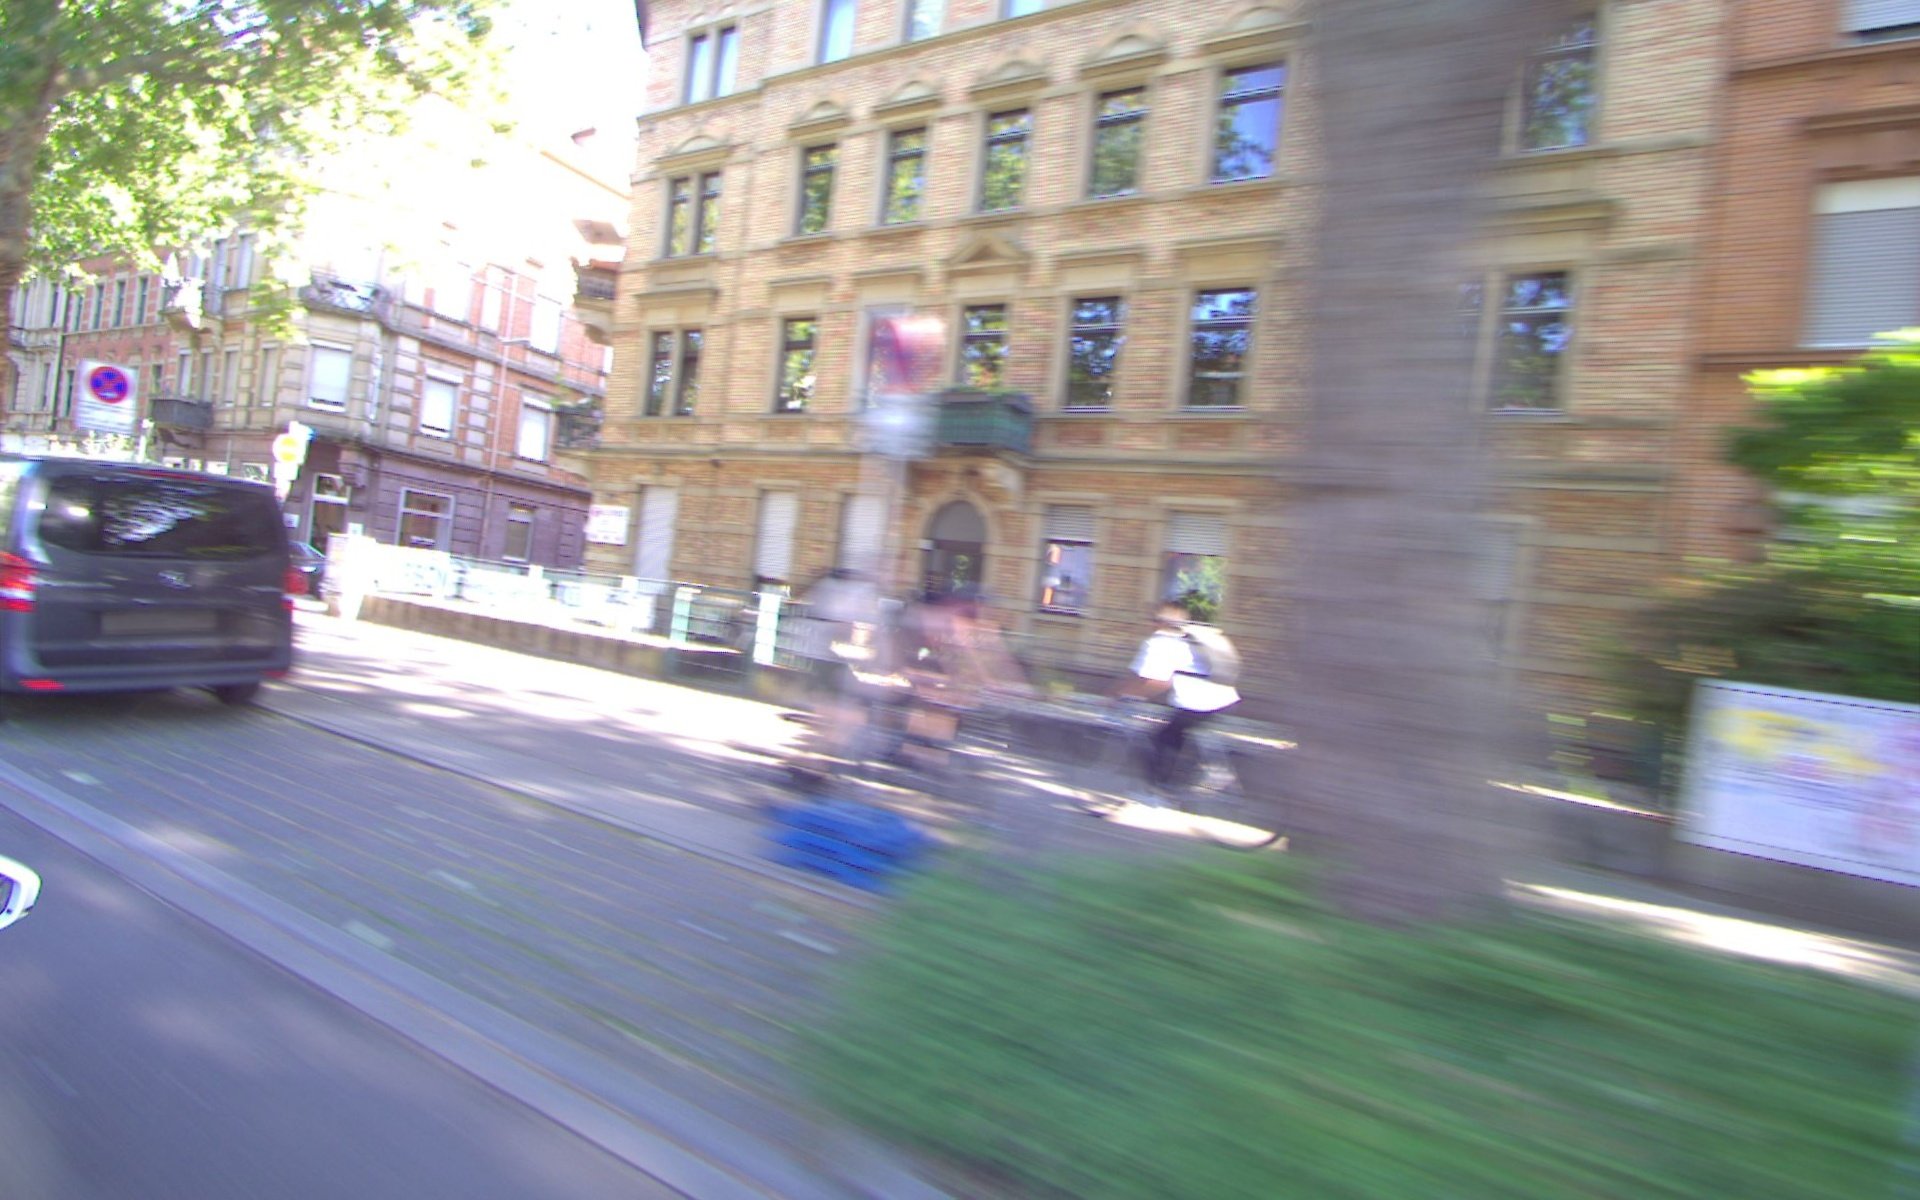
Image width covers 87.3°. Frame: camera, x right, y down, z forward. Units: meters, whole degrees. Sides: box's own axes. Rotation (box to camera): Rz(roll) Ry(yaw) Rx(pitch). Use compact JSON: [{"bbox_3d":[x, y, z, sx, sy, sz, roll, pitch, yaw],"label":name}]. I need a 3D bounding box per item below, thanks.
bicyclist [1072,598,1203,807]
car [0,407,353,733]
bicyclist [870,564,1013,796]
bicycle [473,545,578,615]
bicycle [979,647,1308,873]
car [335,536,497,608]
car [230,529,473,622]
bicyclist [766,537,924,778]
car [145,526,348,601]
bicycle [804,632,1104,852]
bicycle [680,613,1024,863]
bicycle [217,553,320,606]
[{"bbox_3d":[1.308,0.735,7.395,0.633,1.397,0.543,8,1,30],"label":"bicyclist"},{"bbox_3d":[-7.599,-0.372,8.415,5.114,2.038,1.997,7,0,31],"label":"car"},{"bbox_3d":[-0.126,0.553,7.098,0.633,1.505,0.570,7,0,31],"label":"bicyclist"},{"bbox_3d":[-8.718,-0.387,20.248,0.469,1.167,1.864,6,-1,35],"label":"bicycle"},{"bbox_3d":[1.290,1.092,7.373,2.188,1.193,0.561,7,1,31],"label":"bicycle"},{"bbox_3d":[-16.771,-0.818,31.183,1.863,1.667,3.900,7,-1,34],"label":"car"},{"bbox_3d":[-14.567,-0.515,24.405,1.889,1.566,4.615,7,-2,27],"label":"car"},{"bbox_3d":[-0.721,0.354,6.350,0.633,1.397,0.570,6,0,31],"label":"bicyclist"},{"bbox_3d":[-18.992,-0.940,26.976,1.713,1.381,3.996,8,-1,29],"label":"car"},{"bbox_3d":[-0.081,0.932,7.056,1.988,1.192,0.562,6,-2,31],"label":"bicycle"},{"bbox_3d":[-0.740,0.781,6.348,2.189,1.193,0.561,6,2,31],"label":"bicycle"},{"bbox_3d":[-14.567,-0.416,21.243,0.591,0.927,1.697,7,-2,21],"label":"bicycle"}]
